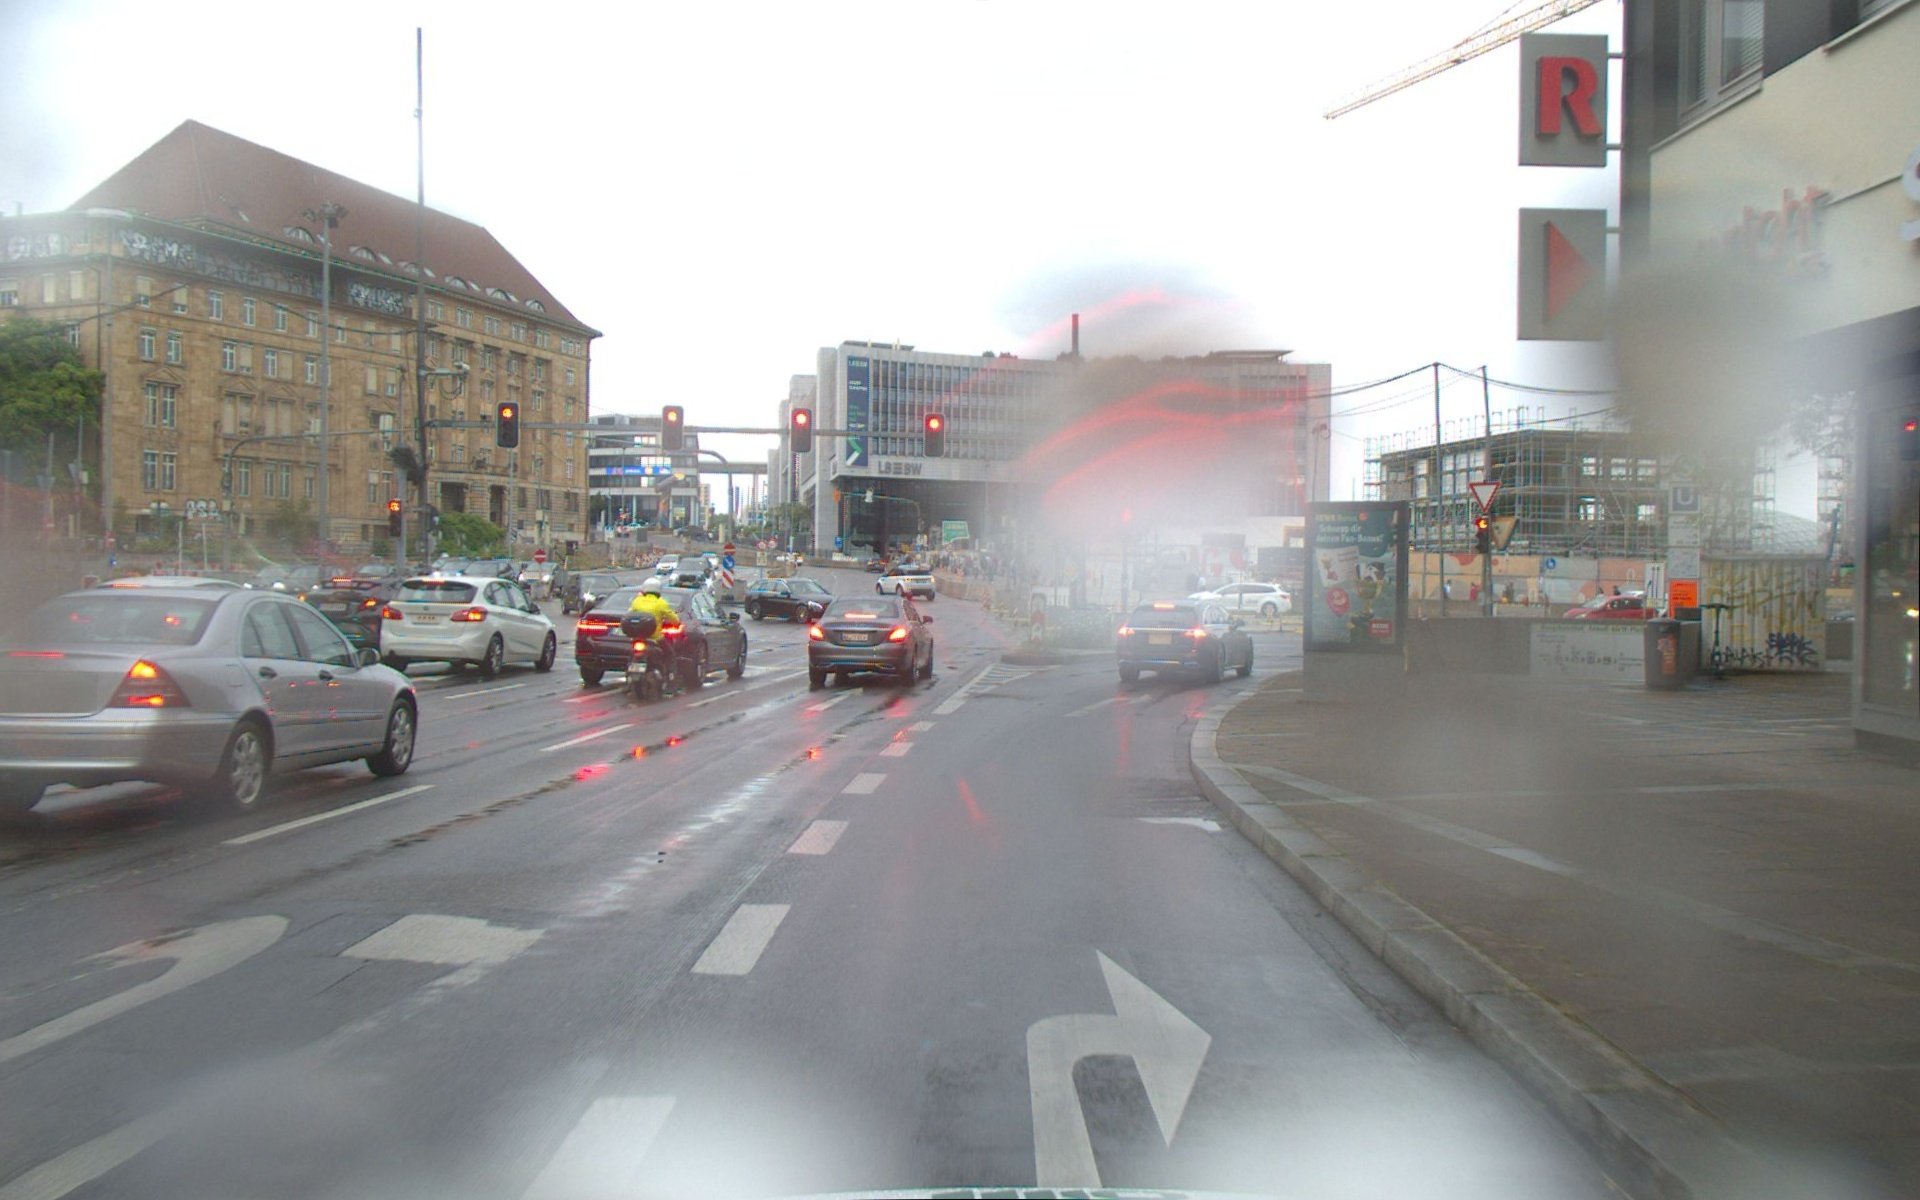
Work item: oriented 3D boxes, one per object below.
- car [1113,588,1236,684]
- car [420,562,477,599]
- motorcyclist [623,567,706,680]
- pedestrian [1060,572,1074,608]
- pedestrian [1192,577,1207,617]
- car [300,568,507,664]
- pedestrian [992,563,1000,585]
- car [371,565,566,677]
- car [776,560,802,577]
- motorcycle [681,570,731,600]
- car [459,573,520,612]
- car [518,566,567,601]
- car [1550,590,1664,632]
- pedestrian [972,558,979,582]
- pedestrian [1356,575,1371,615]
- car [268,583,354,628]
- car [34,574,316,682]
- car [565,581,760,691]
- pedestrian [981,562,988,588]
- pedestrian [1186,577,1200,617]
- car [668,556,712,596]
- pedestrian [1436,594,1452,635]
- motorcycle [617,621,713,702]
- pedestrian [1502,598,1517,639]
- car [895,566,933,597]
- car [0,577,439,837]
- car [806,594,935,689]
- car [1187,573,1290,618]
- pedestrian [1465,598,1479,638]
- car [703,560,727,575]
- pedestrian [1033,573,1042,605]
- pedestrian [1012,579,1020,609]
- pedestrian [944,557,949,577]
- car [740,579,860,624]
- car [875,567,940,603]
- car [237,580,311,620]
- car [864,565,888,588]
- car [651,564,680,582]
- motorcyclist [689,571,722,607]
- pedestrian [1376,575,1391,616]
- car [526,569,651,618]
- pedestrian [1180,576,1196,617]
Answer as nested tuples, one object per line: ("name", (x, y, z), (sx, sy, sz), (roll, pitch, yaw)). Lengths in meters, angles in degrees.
("car", (4.045, 0.662, 30.649), (1.851, 1.571, 3.996), (2, -1, 13))
("car", (-24.476, -0.925, 79.258), (1.664, 1.601, 3.996), (3, -1, -4))
("motorcyclist", (-4.134, 0.332, 23.219), (0.922, 1.501, 1.100), (2, -1, -1))
("pedestrian", (5.749, -0.551, 88.774), (0.358, 1.931, 0.569), (3, -1, -36))
("pedestrian", (11.646, -0.131, 80.374), (0.359, 1.931, 0.568), (3, -1, -42))
("car", (-10.404, 0.320, 31.235), (1.745, 1.627, 4.075), (2, -1, 13))
("pedestrian", (3.181, -2.306, 145.466), (0.509, 1.931, 0.575), (3, -1, -7))
("car", (-8.045, 0.354, 27.450), (1.696, 1.644, 4.002), (2, -1, 5))
("car", (-20.055, -3.685, 193.774), (1.966, 1.847, 3.973), (3, -1, -22))
("motorcycle", (-10.081, -0.594, 65.543), (2.107, 1.128, 0.845), (2, -1, 44))
("car", (-20.834, -0.302, 73.357), (1.766, 1.601, 4.071), (3, -1, -4))
("car", (-21.131, -0.801, 83.826), (1.664, 1.601, 3.996), (3, -1, -4))
("car", (23.454, 0.399, 59.999), (3.468, 1.327, 1.663), (3, -1, -8))
("pedestrian", (1.262, -2.452, 134.110), (0.354, 1.931, 0.575), (2, -1, -7))
("pedestrian", (19.802, -0.256, 81.183), (0.562, 1.931, 0.362), (2, -1, 2))
("car", (-23.402, 0.198, 59.767), (1.663, 1.545, 3.873), (0, 0, -2))
("car", (-11.482, 0.424, 24.532), (1.745, 1.397, 3.996), (2, -1, 10))
("car", (-4.678, 0.572, 26.833), (1.847, 1.541, 5.005), (2, -1, 4))
("pedestrian", (1.817, -1.824, 120.807), (0.354, 1.931, 0.575), (2, -1, -7))
("pedestrian", (11.298, -0.156, 80.111), (0.359, 1.931, 0.568), (1, -1, -41))
("car", (-13.622, -1.162, 83.765), (1.956, 1.829, 5.094), (3, -1, -7))
("pedestrian", (23.137, 0.704, 79.038), (0.563, 1.931, 0.362), (2, -1, -1))
("motorcycle", (-4.091, 0.834, 23.118), (0.923, 1.006, 2.294), (2, 0, -1))
("pedestrian", (26.085, 0.876, 78.518), (0.563, 1.931, 0.362), (2, -1, -1))
("car", (-2.864, -1.167, 102.450), (1.697, 1.668, 3.426), (3, 3, -11))
("car", (-5.285, 0.623, 11.582), (1.697, 1.428, 4.384), (2, -1, 2))
("car", (-1.451, 0.687, 28.454), (1.746, 1.427, 4.487), (2, -1, 2))
("car", (12.228, -0.187, 72.875), (4.311, 1.797, 2.001), (2, -1, 5))
("pedestrian", (25.154, 0.885, 81.232), (0.562, 1.931, 0.362), (2, -1, 6))
("car", (-23.708, -3.147, 160.100), (1.732, 1.282, 3.998), (3, -1, -2))
("pedestrian", (4.764, -0.664, 101.419), (0.355, 1.931, 0.574), (3, -1, -15))
("pedestrian", (3.704, -0.398, 109.393), (0.355, 1.931, 0.575), (3, -1, -11))
("pedestrian", (-1.293, -3.285, 163.652), (0.354, 1.931, 0.575), (2, -1, -7))
("car", (-5.515, 0.041, 56.702), (1.984, 1.368, 4.047), (3, -1, -44))
("car", (-2.672, -0.764, 83.437), (1.967, 1.668, 3.971), (3, -1, -23))
("car", (-27.060, 0.011, 65.375), (1.664, 1.545, 3.684), (0, 0, -5))
("car", (-8.281, -2.308, 162.813), (1.956, 2.049, 3.993), (3, -1, -8))
("car", (-24.174, -2.190, 135.805), (1.732, 1.282, 4.192), (3, -1, -2))
("motorcyclist", (-10.086, -0.423, 65.537), (0.932, 1.382, 0.843), (1, -1, 45))
("pedestrian", (20.411, -0.206, 79.752), (0.562, 1.931, 0.362), (2, -1, 3))
("car", (-12.952, -0.232, 57.662), (4.027, 1.533, 1.994), (2, -1, 33))
("pedestrian", (11.015, -0.166, 79.855), (0.567, 1.931, 0.360), (1, -1, 44))
